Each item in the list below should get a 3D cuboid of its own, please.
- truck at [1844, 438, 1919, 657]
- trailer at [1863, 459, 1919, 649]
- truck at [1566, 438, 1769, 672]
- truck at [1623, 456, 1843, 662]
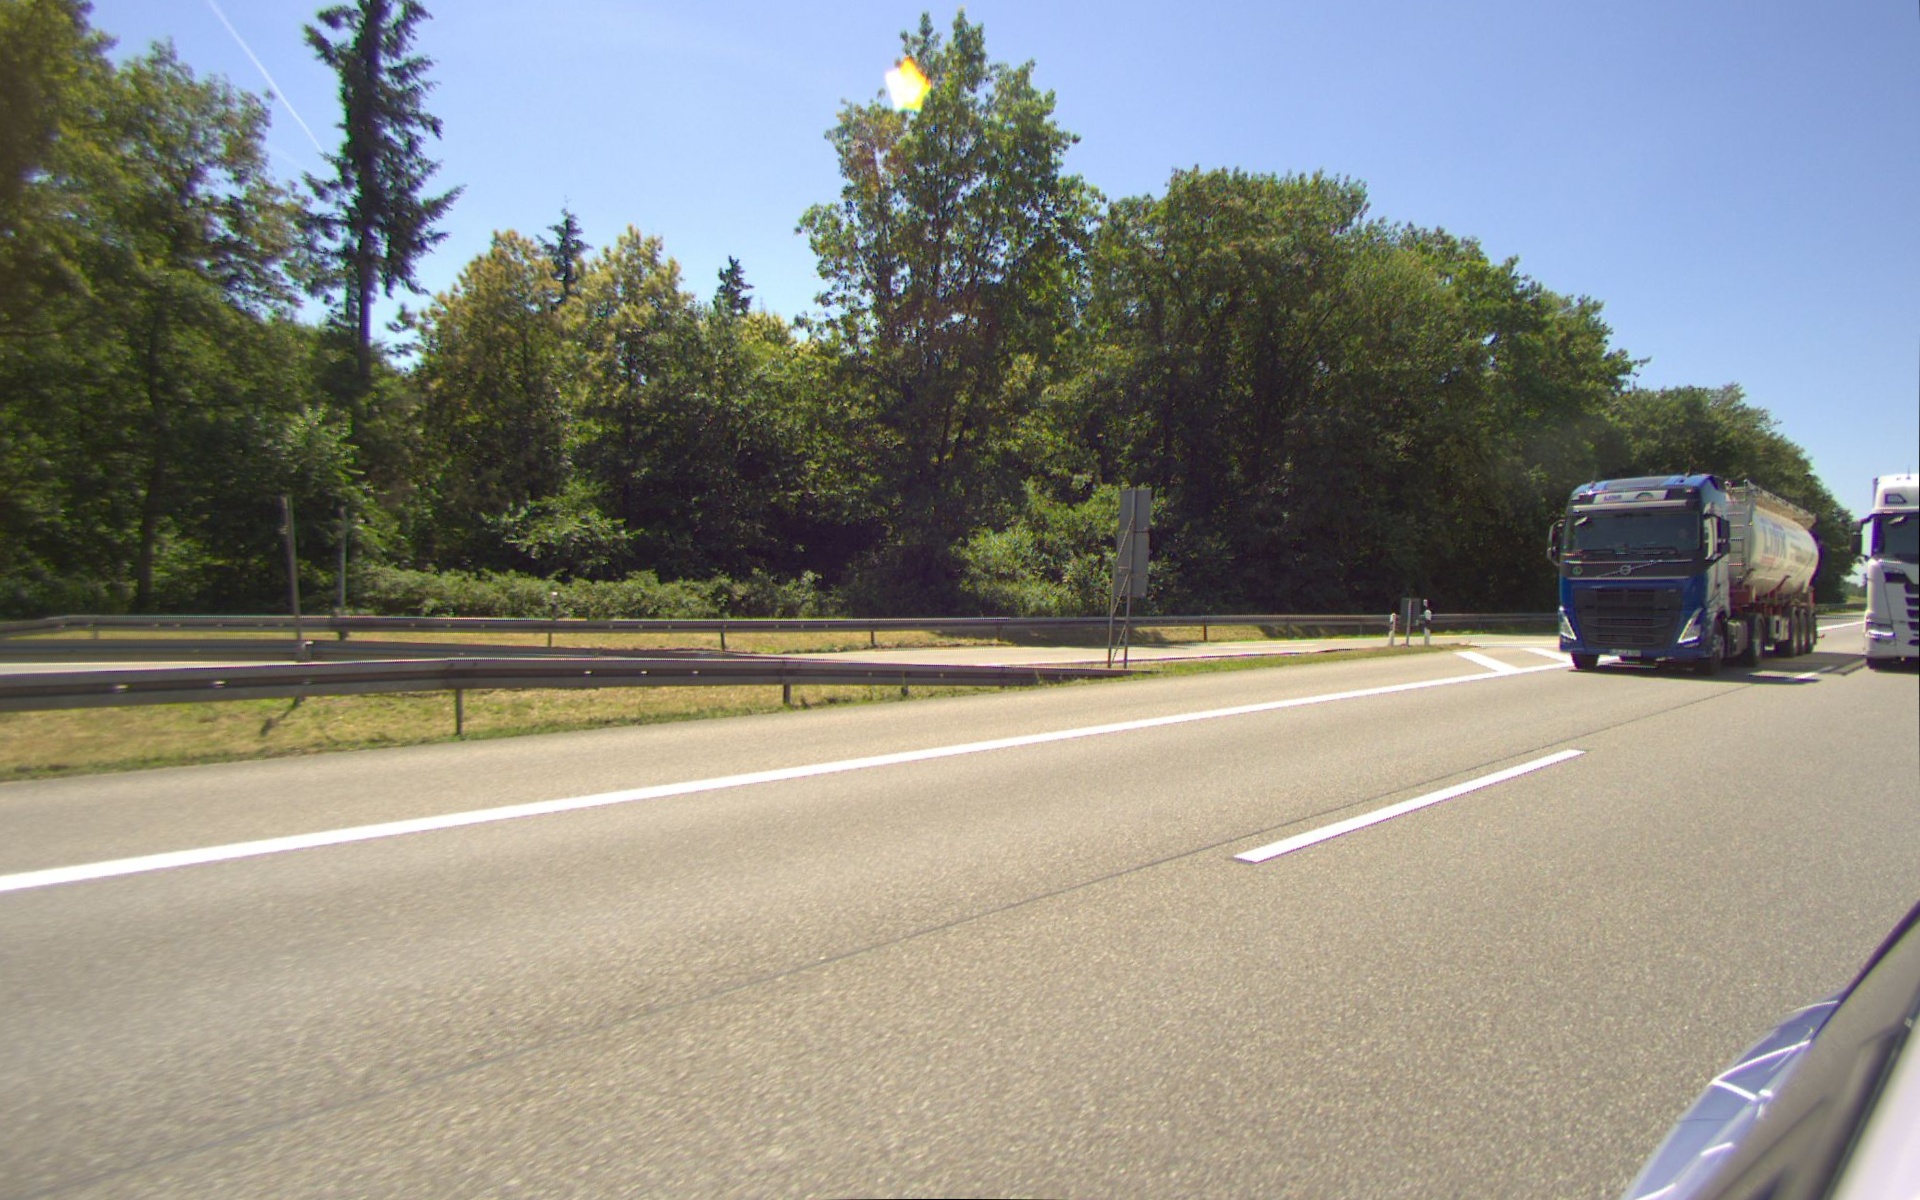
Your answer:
[{"bbox_3d":[20.446,-1.003,20.619,4.483,4.209,3.232,0,1,-44],"label":"truck"},{"bbox_3d":[26.046,-1.007,26.026,12.146,4.195,3.227,0,1,-44],"label":"trailer"},{"bbox_3d":[13.978,-0.821,19.923,4.002,4.088,2.452,0,1,-42],"label":"truck"},{"bbox_3d":[19.008,-0.869,24.528,10.362,4.094,2.446,-1,1,-42],"label":"truck"}]
